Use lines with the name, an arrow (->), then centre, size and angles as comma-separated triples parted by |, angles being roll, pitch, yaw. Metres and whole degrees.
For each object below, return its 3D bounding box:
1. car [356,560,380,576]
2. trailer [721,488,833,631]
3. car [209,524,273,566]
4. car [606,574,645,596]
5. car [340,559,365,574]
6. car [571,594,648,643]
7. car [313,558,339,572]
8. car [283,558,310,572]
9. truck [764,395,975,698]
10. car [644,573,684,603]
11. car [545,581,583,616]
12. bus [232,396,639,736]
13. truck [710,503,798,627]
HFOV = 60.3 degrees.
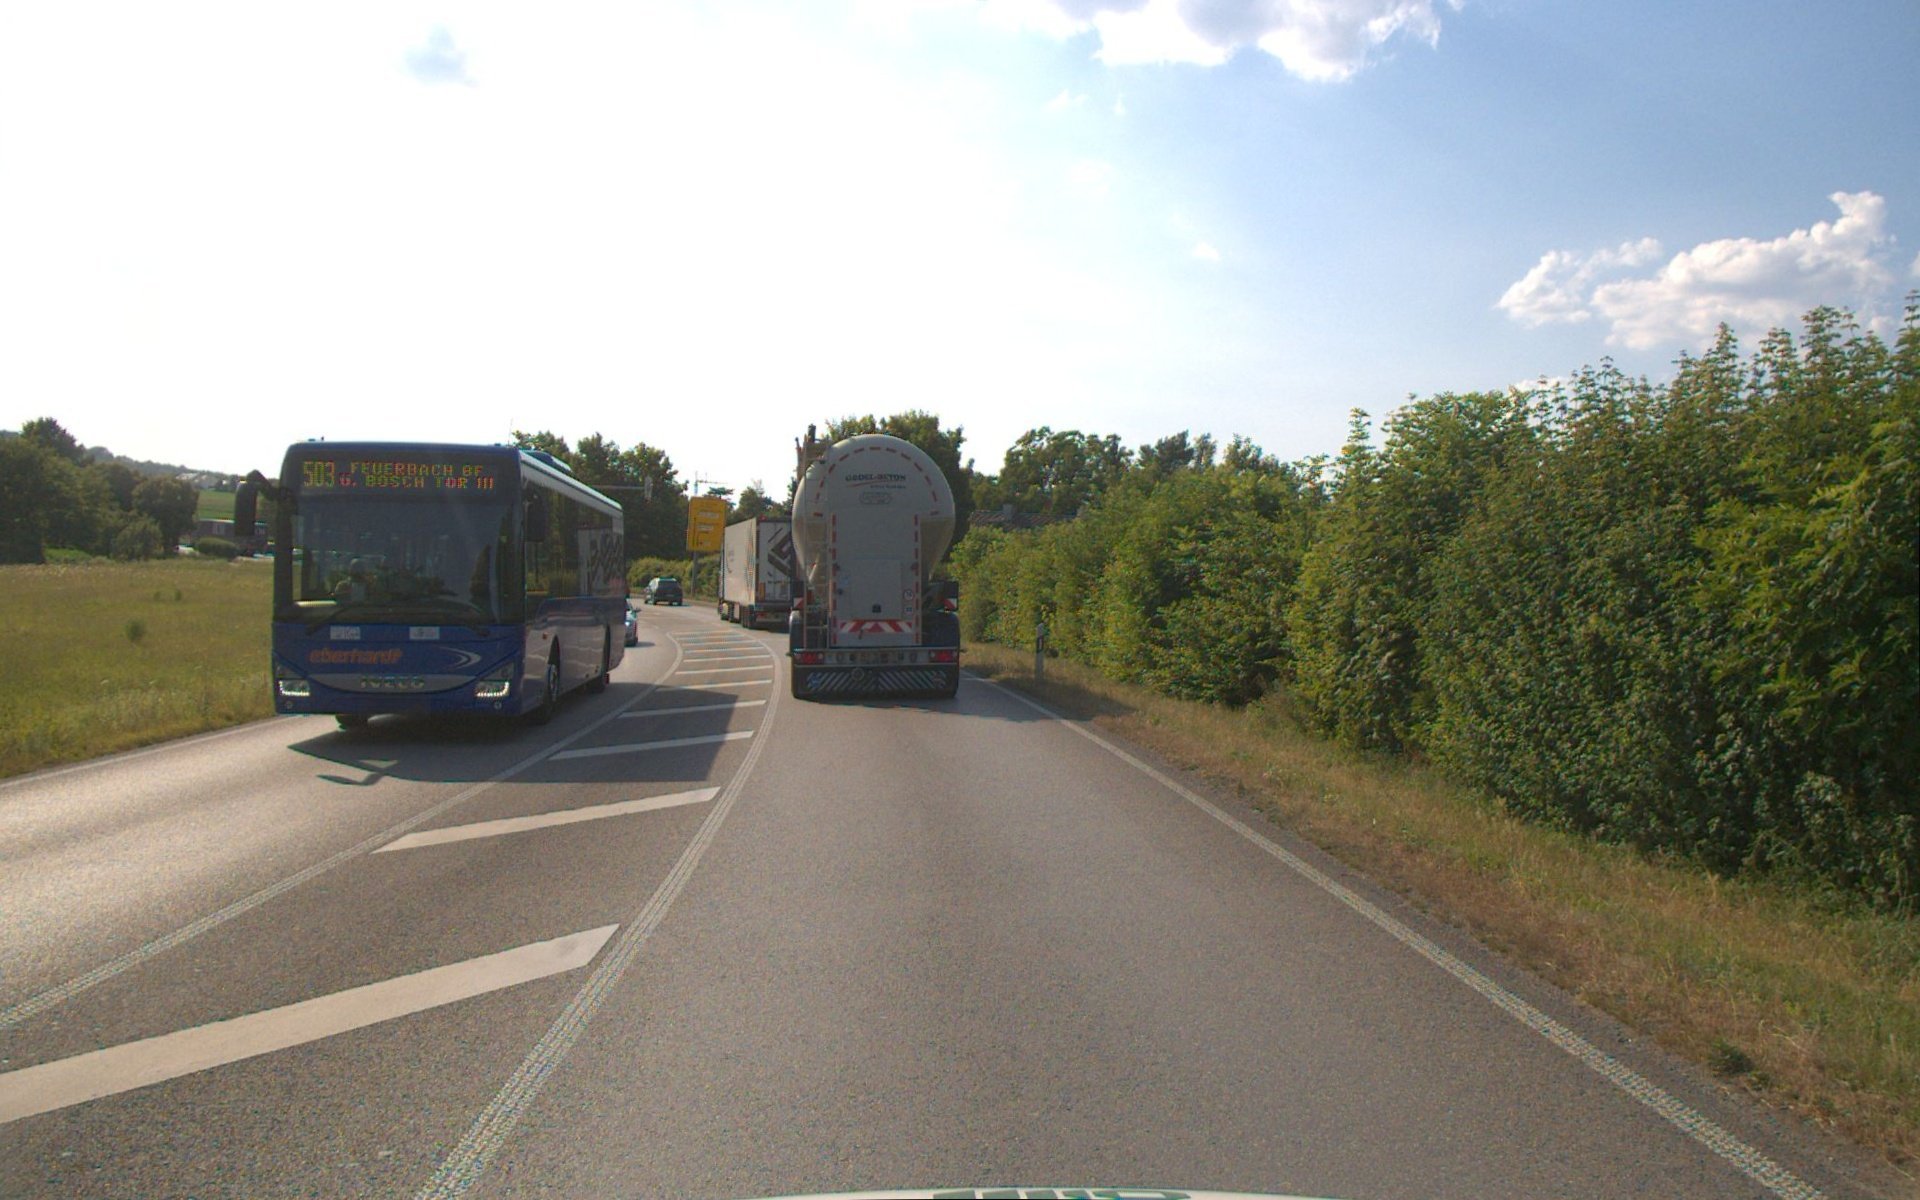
car -> -65.326, -3.542, 182.389 | 1.861, 1.627, 3.962 | 2, 0, -29
trailer -> -7.208, -1.378, 63.724 | 2.914, 4.967, 10.251 | 1, -1, -13
car -> -91.962, -7.051, 211.327 | 3.522, 5.147, 13.040 | 2, 0, -42
car -> -23.409, -1.026, 115.690 | 1.664, 1.493, 3.963 | 2, -1, -28
car -> -68.926, -3.837, 187.521 | 1.864, 1.627, 3.956 | 2, 0, -32
car -> -10.085, 0.521, 47.838 | 1.667, 1.357, 4.743 | 1, 0, -6
car -> -74.291, -4.105, 193.765 | 1.866, 1.627, 3.952 | 2, 0, -35
car -> -79.663, -4.198, 198.493 | 1.871, 1.627, 3.942 | 2, 0, -40
truck -> -1.665, -0.687, 29.410 | 2.917, 4.248, 11.652 | 1, -1, -4
car -> -17.741, -0.704, 98.988 | 1.961, 1.685, 3.983 | 1, -1, -15
car -> -18.665, -0.039, 77.948 | 1.665, 1.580, 4.138 | 1, -1, -13
bus -> -6.246, -0.244, 22.118 | 2.740, 3.237, 12.109 | 1, -1, -6
truck -> -8.871, -1.387, 70.674 | 2.912, 4.972, 6.407 | 1, -1, -14
